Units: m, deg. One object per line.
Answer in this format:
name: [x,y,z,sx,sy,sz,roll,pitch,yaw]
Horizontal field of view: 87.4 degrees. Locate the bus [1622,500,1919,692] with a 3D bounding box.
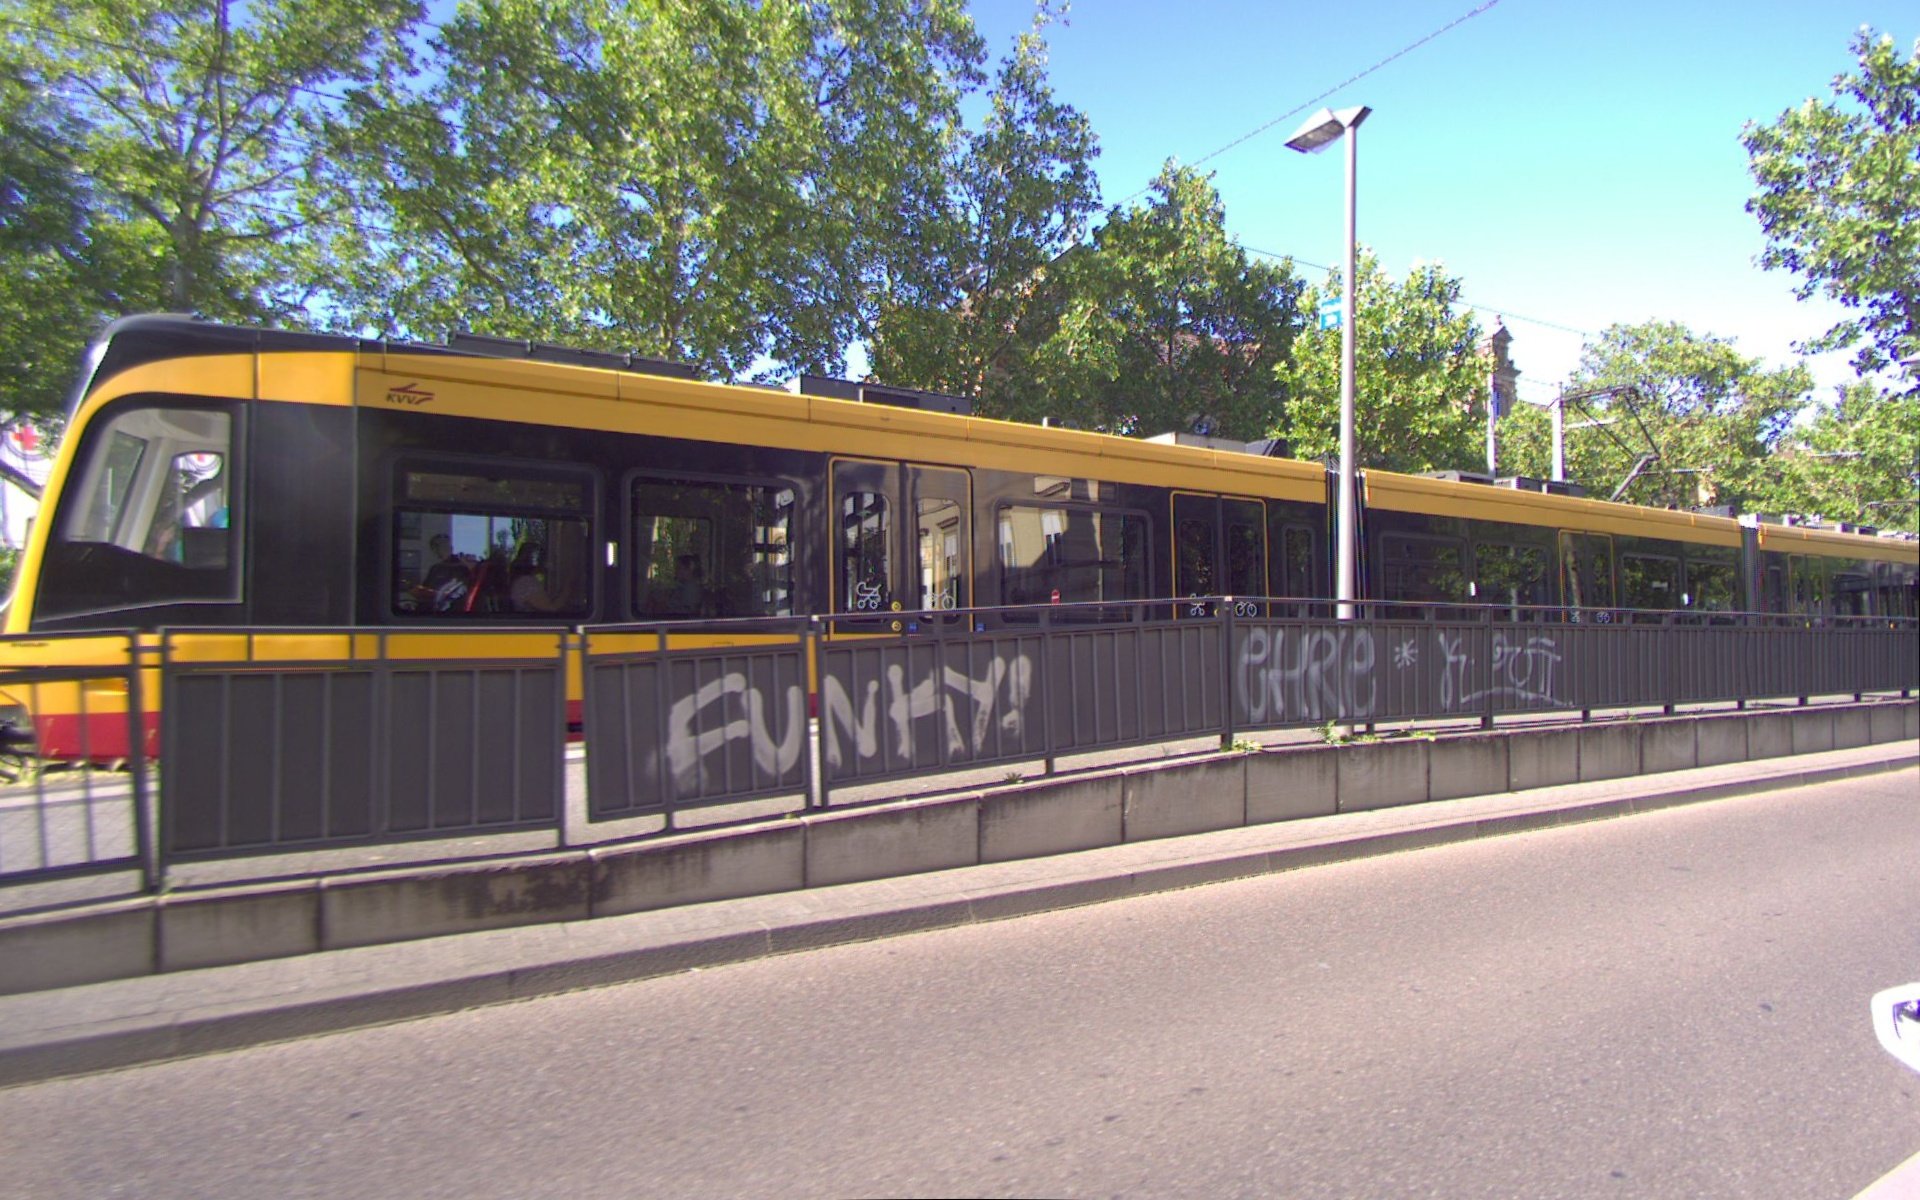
bus: [19.383,0.043,22.454,11.473,3.490,2.856,1,-1,-30]

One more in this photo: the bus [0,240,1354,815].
bus: [-1.551,-0.321,10.228,13.059,3.490,2.856,1,-1,-30]

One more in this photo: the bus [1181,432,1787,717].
bus: [9.183,-0.187,16.562,12.069,3.490,2.856,1,-1,-30]
